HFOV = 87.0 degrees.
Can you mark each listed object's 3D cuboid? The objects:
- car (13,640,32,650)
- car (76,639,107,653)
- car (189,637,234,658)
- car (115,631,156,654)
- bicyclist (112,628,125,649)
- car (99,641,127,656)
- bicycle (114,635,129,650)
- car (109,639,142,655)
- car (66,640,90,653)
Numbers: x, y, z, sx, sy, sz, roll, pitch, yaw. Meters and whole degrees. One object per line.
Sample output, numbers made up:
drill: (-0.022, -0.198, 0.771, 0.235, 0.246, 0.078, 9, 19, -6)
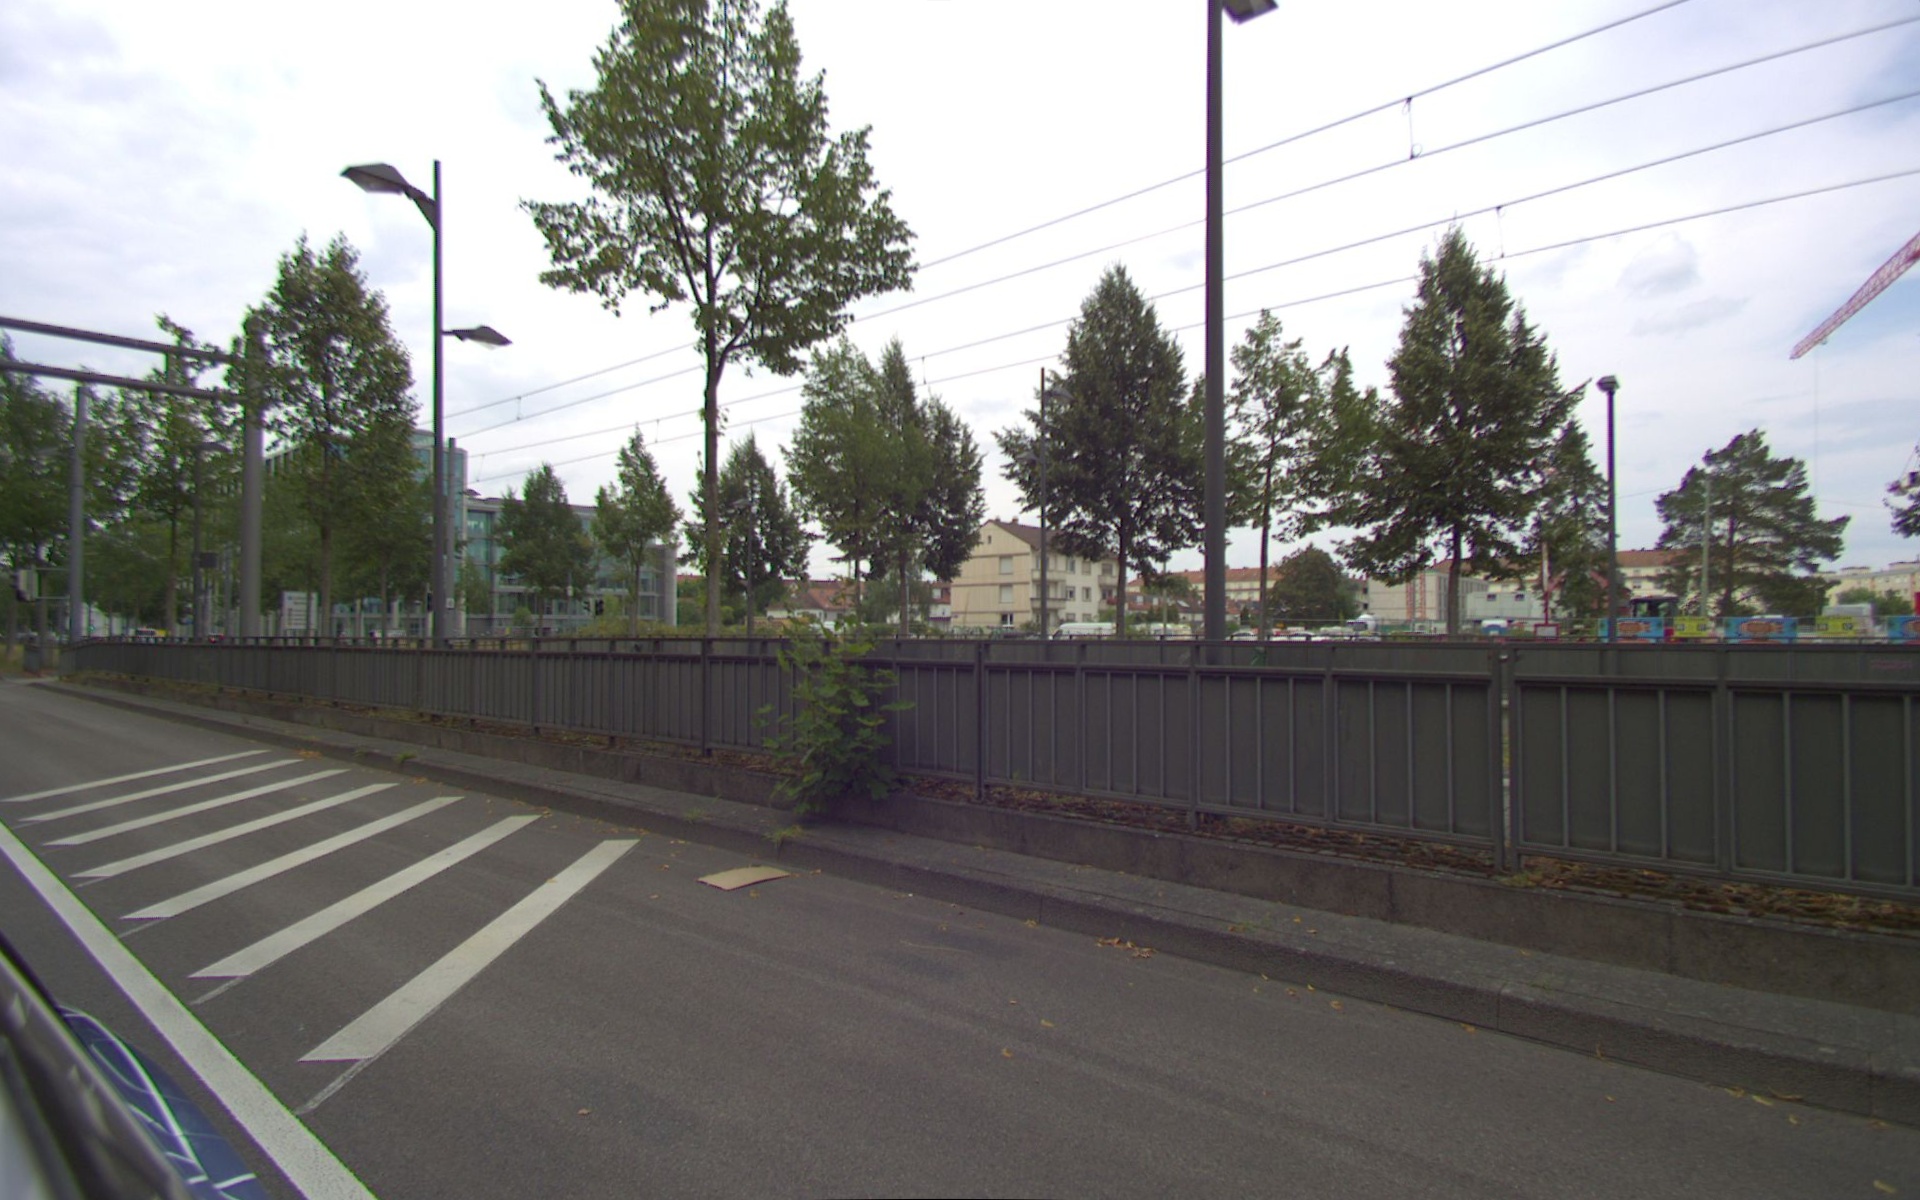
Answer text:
car: (-139.823, 6.682, 150.913, 3.864, 1.468, 1.729, -2, -3, 42)
car: (-95.396, 5.055, 111.159, 3.997, 1.429, 1.973, -2, -3, 40)
car: (-61.105, 3.870, 82.585, 4.687, 1.669, 1.809, -2, -3, 39)
car: (-73.404, 3.754, 90.061, 5.093, 1.959, 1.973, -2, -3, 41)
bicyclist: (-83.459, 3.856, 100.358, 0.994, 2.029, 0.733, -2, 0, 39)
car: (-86.074, 4.882, 102.877, 3.865, 1.468, 1.729, -2, -3, 43)
bicycle: (-82.897, 4.212, 100.062, 2.355, 1.499, 0.702, -3, -1, 40)
car: (-79.032, 4.461, 95.832, 3.863, 1.508, 1.730, -2, -2, 41)
car: (-106.181, 5.564, 121.836, 3.864, 1.468, 1.729, -2, -3, 42)
